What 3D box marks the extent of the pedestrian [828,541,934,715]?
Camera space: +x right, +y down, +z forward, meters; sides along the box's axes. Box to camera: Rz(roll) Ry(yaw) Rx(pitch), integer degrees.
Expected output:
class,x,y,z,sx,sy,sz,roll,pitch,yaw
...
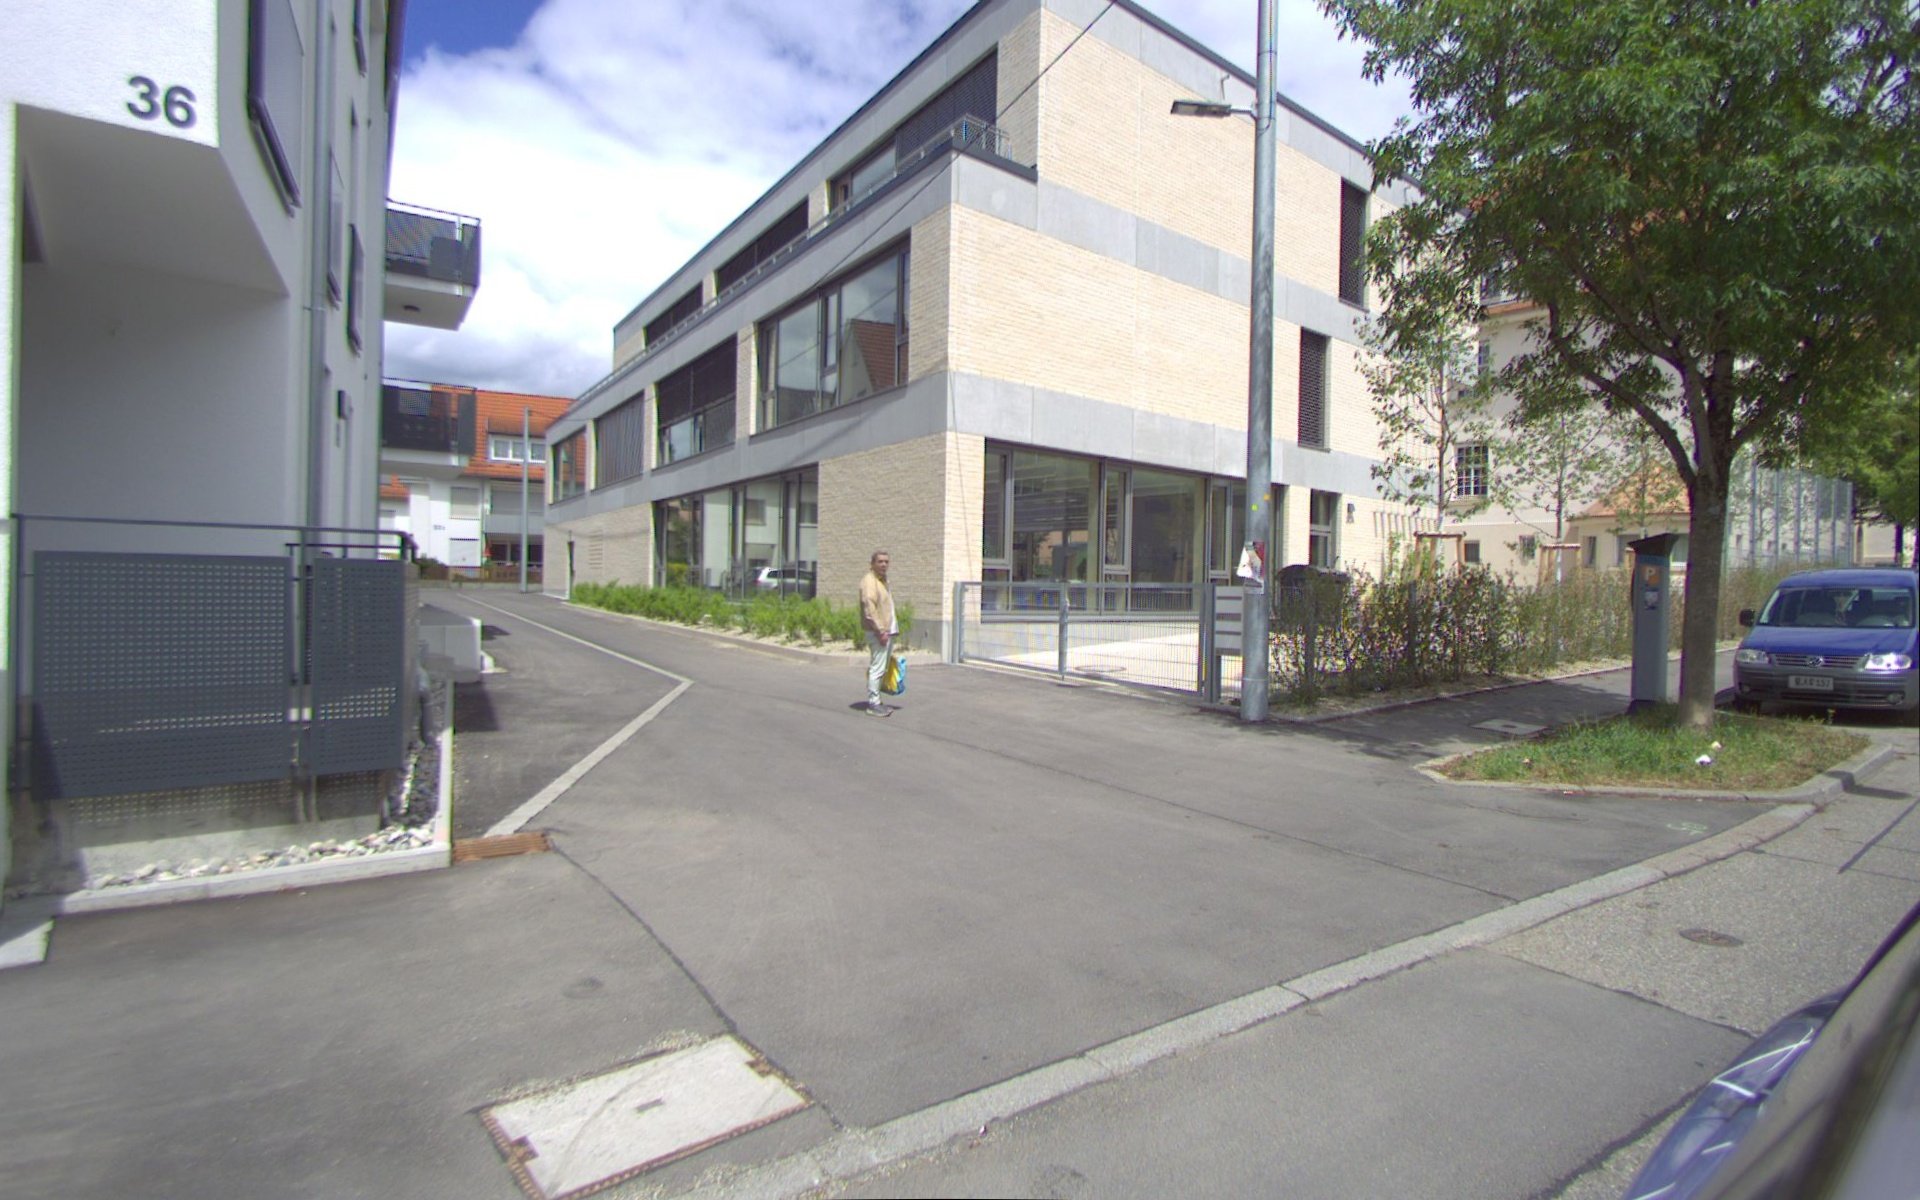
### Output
class,x,y,z,sx,sy,sz,roll,pitch,yaw
pedestrian,-0.829,0.267,10.593,0.815,1.725,0.774,0,0,-42

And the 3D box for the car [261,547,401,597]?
class,x,y,z,sx,sy,sz,roll,pitch,yaw
car,-21.081,-0.919,34.067,3.857,1.524,1.700,1,1,-31

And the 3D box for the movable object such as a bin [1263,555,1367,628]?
class,x,y,z,sx,sy,sz,roll,pitch,yaw
movable object such as a bin,7.521,-0.183,21.440,1.774,1.465,1.351,0,1,-39

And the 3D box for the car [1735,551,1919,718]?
class,x,y,z,sx,sy,sz,roll,pitch,yaw
car,11.258,0.347,12.625,4.086,1.765,1.698,0,1,-40

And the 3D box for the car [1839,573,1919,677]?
class,x,y,z,sx,sy,sz,roll,pitch,yaw
car,15.539,0.371,16.214,3.605,1.538,1.677,0,1,-40
